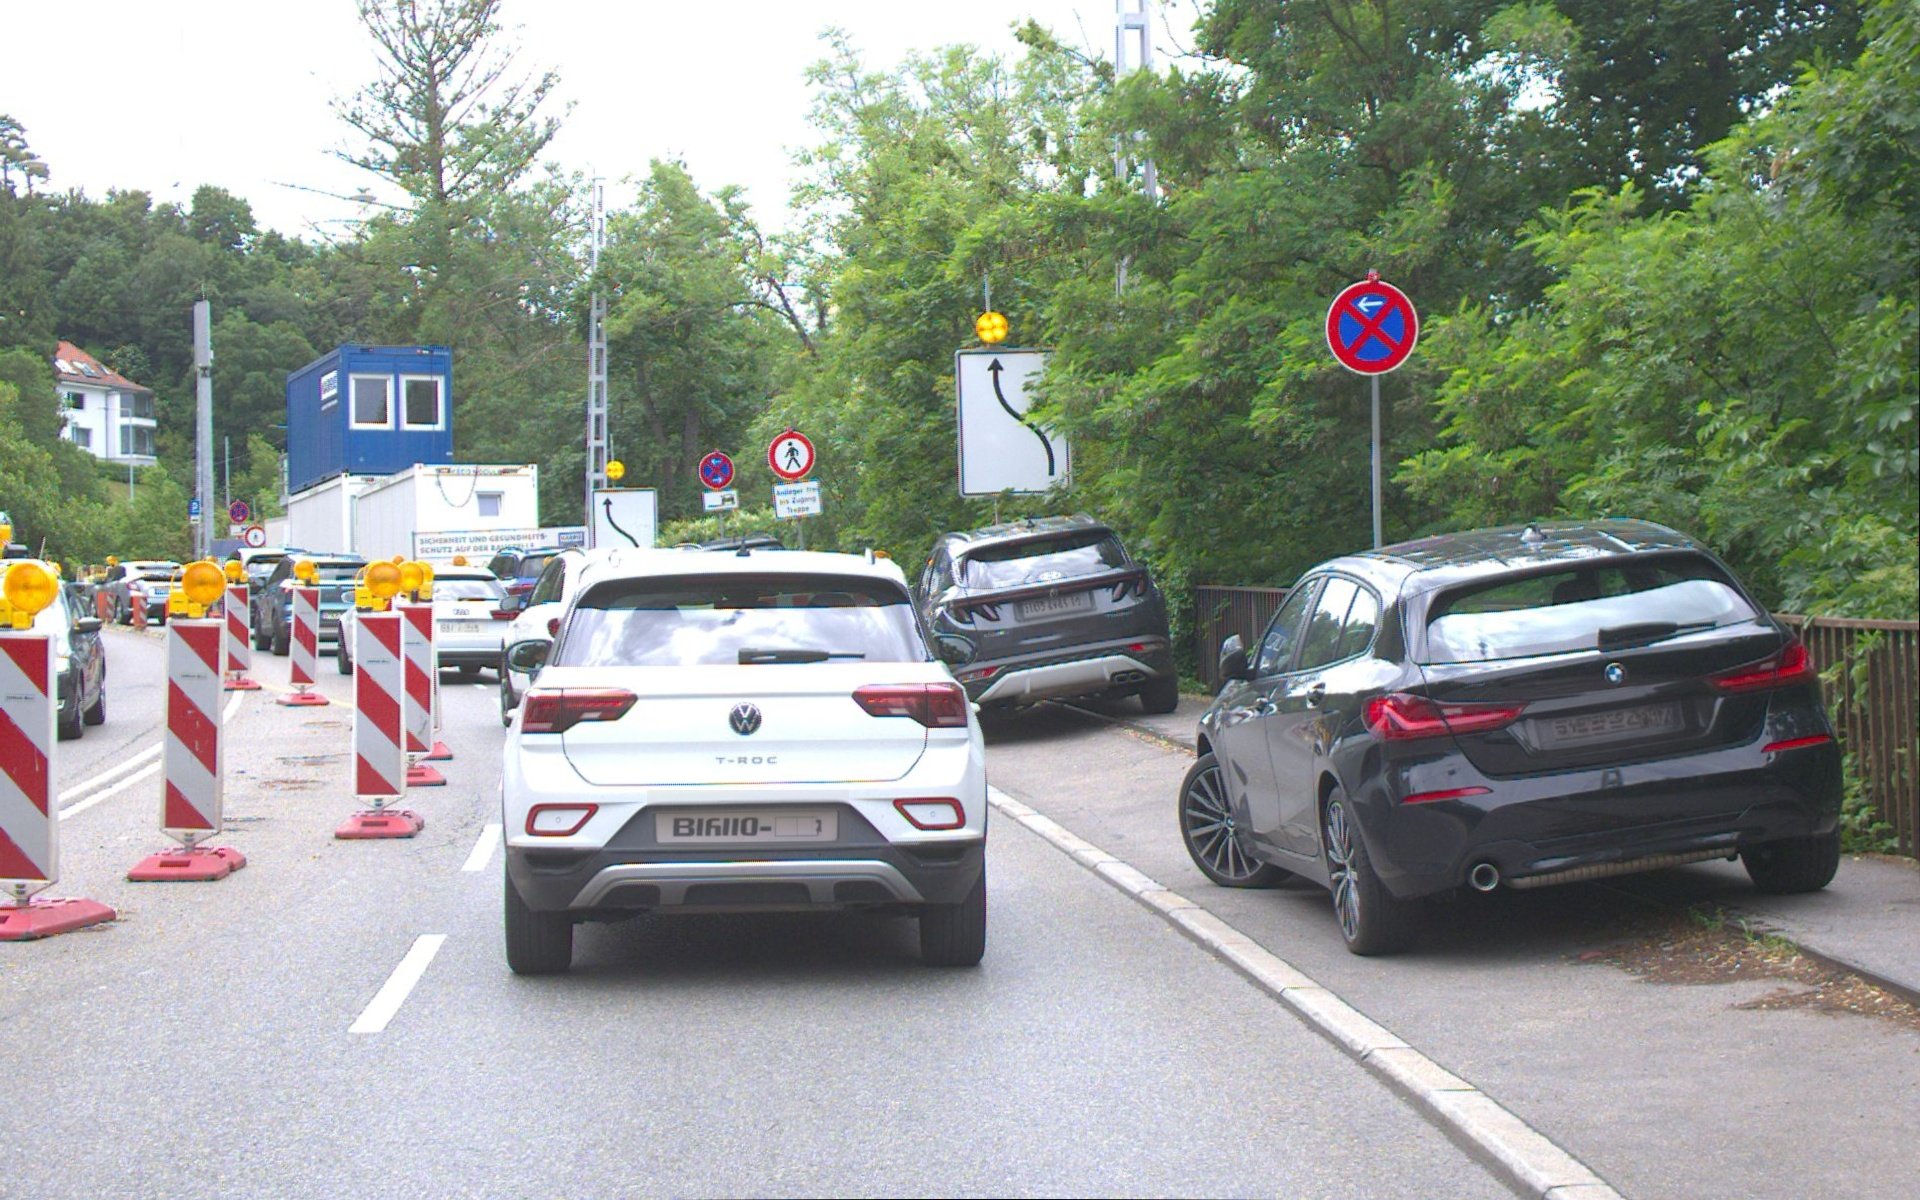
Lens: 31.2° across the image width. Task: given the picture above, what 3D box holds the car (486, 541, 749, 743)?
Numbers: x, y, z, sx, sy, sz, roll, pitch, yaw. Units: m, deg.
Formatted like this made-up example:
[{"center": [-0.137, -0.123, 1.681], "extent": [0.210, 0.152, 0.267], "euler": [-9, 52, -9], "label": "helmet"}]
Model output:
[{"center": [-3.026, 0.313, 29.735], "extent": [1.757, 1.604, 3.796], "euler": [-1, 1, -13], "label": "car"}]

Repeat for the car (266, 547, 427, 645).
[{"center": [-9.731, -0.040, 54.312], "extent": [1.993, 1.409, 4.151], "euler": [-3, 0, -16], "label": "car"}]

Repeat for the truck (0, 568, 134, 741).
[{"center": [-8.738, 0.472, 31.451], "extent": [1.662, 1.438, 4.027], "euler": [-2, 1, -5], "label": "truck"}]

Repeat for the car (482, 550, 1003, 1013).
[{"center": [-0.916, 0.590, 13.653], "extent": [1.757, 1.550, 3.796], "euler": [-1, 1, -5], "label": "car"}]

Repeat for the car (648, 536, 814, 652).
[{"center": [-3.368, -0.098, 49.955], "extent": [1.715, 1.512, 3.661], "euler": [-4, 1, -14], "label": "car"}]

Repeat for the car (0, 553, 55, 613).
[{"center": [-24.578, -0.399, 87.415], "extent": [1.993, 1.445, 4.150], "euler": [-2, 0, -30], "label": "car"}]

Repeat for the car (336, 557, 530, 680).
[{"center": [-6.758, 0.206, 43.798], "extent": [1.757, 1.466, 3.796], "euler": [-1, 1, -19], "label": "car"}]

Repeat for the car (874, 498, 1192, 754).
[{"center": [0.504, 0.163, 28.008], "extent": [1.849, 1.651, 4.143], "euler": [-9, 2, -6], "label": "car"}]

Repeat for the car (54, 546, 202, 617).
[{"center": [-18.584, -0.403, 76.656], "extent": [1.993, 1.445, 4.150], "euler": [-2, 0, -31], "label": "car"}]

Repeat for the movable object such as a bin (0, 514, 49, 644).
[{"center": [-29.627, -0.580, 101.799], "extent": [3.531, 3.687, 7.495], "euler": [-2, 1, -27], "label": "movable object such as a bin"}]

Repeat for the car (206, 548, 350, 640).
[{"center": [-12.557, -0.138, 63.137], "extent": [1.993, 1.551, 4.152], "euler": [-2, 2, -19], "label": "car"}]

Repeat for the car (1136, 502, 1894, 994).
[{"center": [2.002, 0.465, 13.748], "extent": [1.807, 1.458, 4.195], "euler": [-7, 2, -6], "label": "car"}]
